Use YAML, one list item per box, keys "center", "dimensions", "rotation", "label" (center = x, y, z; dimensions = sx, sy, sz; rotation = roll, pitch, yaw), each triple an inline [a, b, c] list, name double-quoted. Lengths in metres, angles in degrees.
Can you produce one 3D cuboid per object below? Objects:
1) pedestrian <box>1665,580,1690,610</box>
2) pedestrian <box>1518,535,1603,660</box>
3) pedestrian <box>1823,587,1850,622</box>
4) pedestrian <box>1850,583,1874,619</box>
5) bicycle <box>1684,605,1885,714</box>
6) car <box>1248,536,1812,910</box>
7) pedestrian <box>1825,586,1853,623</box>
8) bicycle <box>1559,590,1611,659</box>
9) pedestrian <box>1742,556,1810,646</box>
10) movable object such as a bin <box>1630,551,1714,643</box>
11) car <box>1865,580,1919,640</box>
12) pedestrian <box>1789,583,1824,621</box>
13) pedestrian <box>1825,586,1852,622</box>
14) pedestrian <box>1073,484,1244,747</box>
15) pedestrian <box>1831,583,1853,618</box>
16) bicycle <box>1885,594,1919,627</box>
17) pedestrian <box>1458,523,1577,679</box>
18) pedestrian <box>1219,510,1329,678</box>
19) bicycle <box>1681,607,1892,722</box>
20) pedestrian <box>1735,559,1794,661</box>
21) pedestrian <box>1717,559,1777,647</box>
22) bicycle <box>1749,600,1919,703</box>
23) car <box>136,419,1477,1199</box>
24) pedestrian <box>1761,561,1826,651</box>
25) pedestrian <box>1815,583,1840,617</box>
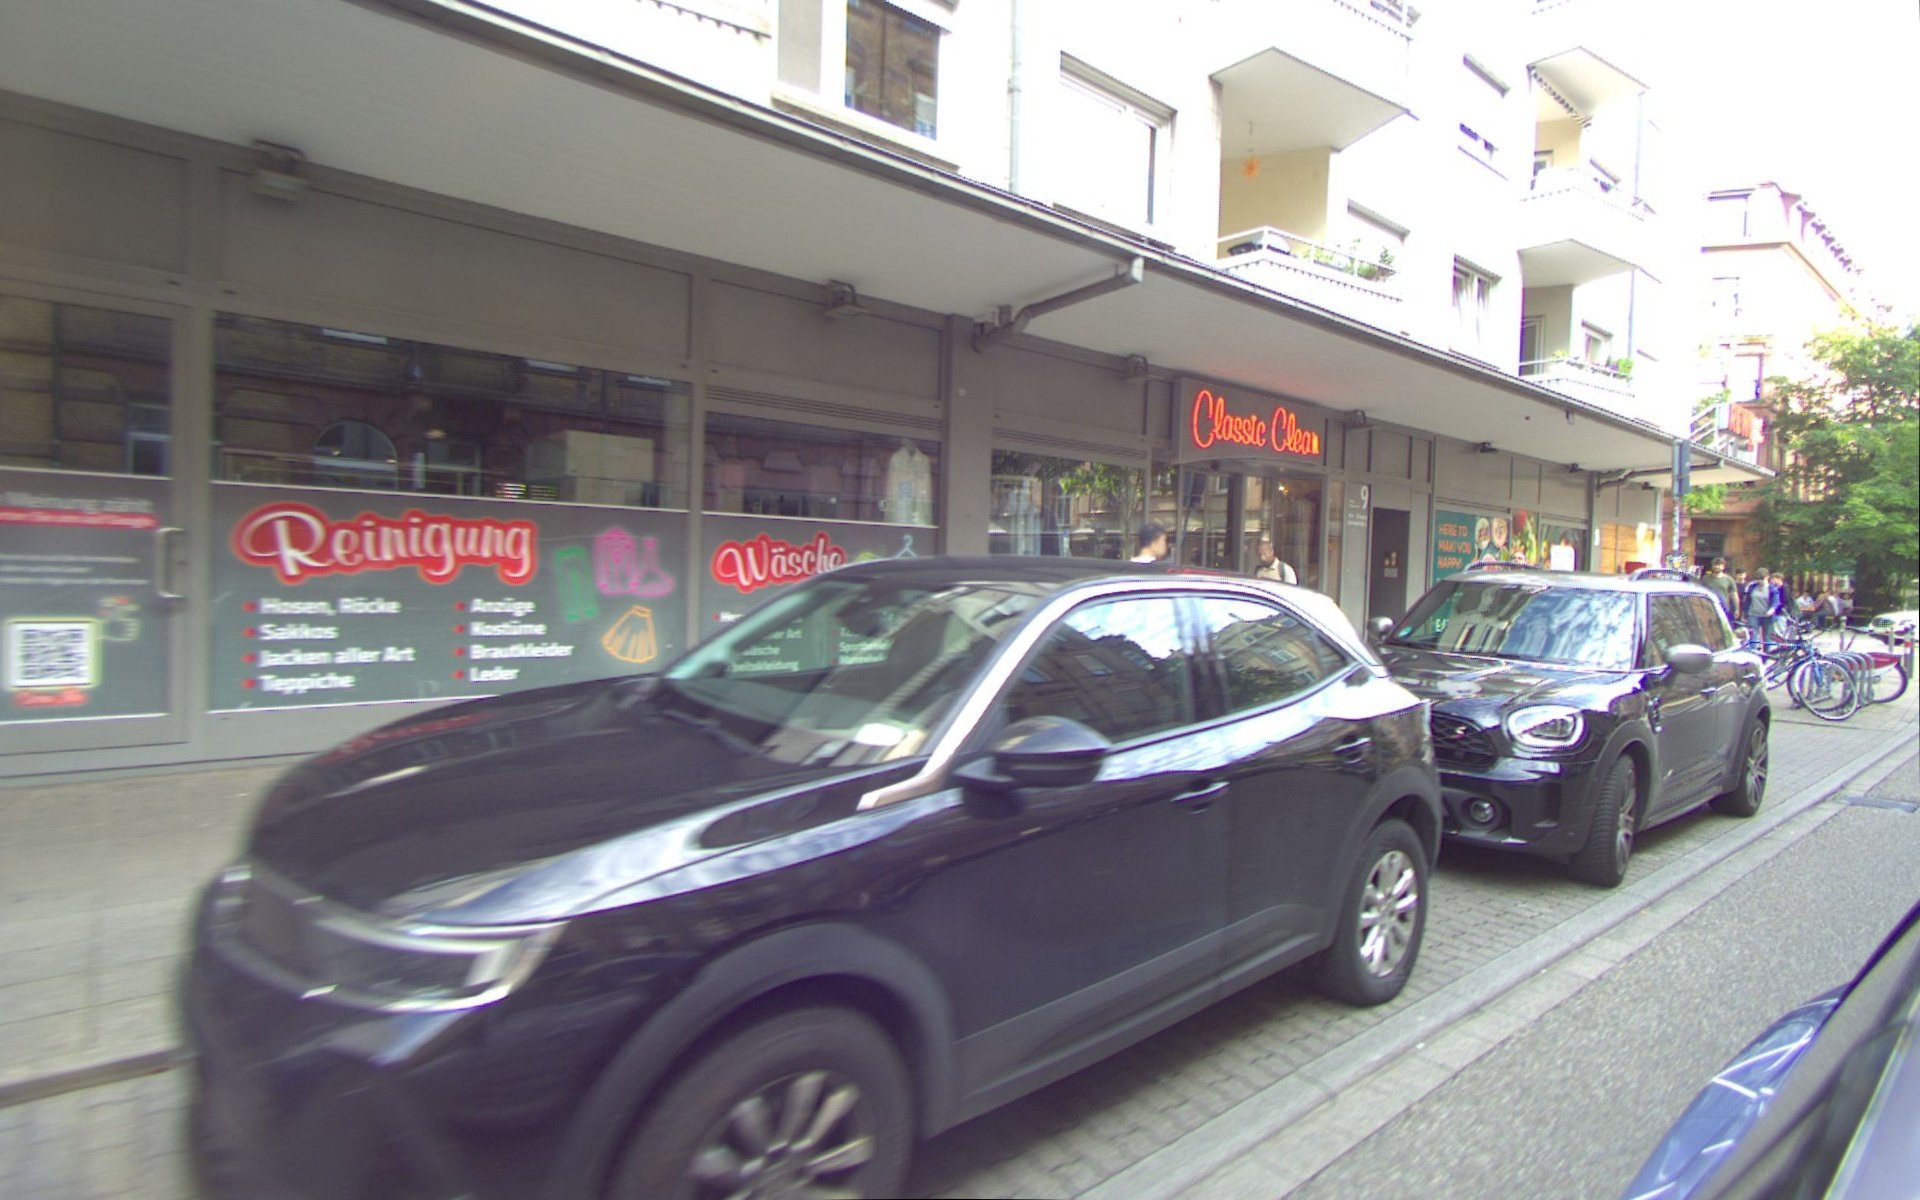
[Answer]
- center: [30.438, -0.196, 42.921]
  dimensions: [0.628, 1.239, 0.513]
  rotation: [0, 3, -7]
  label: "pedestrian"
- center: [8.371, -0.043, 14.113]
  dimensions: [0.700, 1.652, 0.723]
  rotation: [1, 4, -42]
  label: "pedestrian"
- center: [33.638, 0.161, 38.850]
  dimensions: [0.725, 1.331, 0.599]
  rotation: [2, 1, 38]
  label: "pedestrian"
- center: [35.493, 0.039, 39.827]
  dimensions: [0.462, 1.343, 0.616]
  rotation: [3, 3, 26]
  label: "pedestrian"
- center: [9.966, 0.687, 12.299]
  dimensions: [1.787, 1.083, 0.560]
  rotation: [6, 4, 41]
  label: "bicycle"
- center: [3.726, 0.505, 6.352]
  dimensions: [3.854, 1.625, 1.797]
  rotation: [0, 3, -40]
  label: "car"
- center: [32.941, 0.162, 37.942]
  dimensions: [0.725, 1.331, 0.514]
  rotation: [2, 1, 39]
  label: "pedestrian"
- center: [10.813, 0.387, 17.544]
  dimensions: [0.673, 1.055, 1.716]
  rotation: [3, 4, 30]
  label: "bicycle"
- center: [17.187, 0.011, 21.321]
  dimensions: [0.619, 1.818, 0.716]
  rotation: [4, 3, -7]
  label: "pedestrian"
- center: [14.434, -0.074, 20.501]
  dimensions: [2.381, 1.766, 0.781]
  rotation: [0, 2, -41]
  label: "movable object such as a bin"
- center: [28.362, 0.349, 27.793]
  dimensions: [4.770, 1.617, 1.935]
  rotation: [3, 1, 17]
  label: "car"
- center: [32.539, 0.063, 38.891]
  dimensions: [0.656, 1.395, 0.718]
  rotation: [1, 2, -5]
  label: "pedestrian"
- center: [33.261, 0.162, 38.339]
  dimensions: [0.725, 1.331, 0.514]
  rotation: [2, 1, 39]
  label: "pedestrian"
- center: [1.442, 0.100, 7.312]
  dimensions: [1.106, 1.748, 0.613]
  rotation: [1, 1, -38]
  label: "pedestrian"
- center: [35.325, 0.023, 40.523]
  dimensions: [0.462, 1.343, 0.616]
  rotation: [3, 3, 26]
  label: "pedestrian"
- center: [32.419, 0.389, 34.024]
  dimensions: [0.671, 1.047, 1.855]
  rotation: [0, 3, -40]
  label: "bicycle"
- center: [6.784, -0.010, 12.318]
  dimensions: [1.031, 1.767, 0.851]
  rotation: [1, 4, -42]
  label: "pedestrian"
- center: [3.472, -0.081, 11.216]
  dimensions: [0.802, 1.767, 0.716]
  rotation: [1, 4, -38]
  label: "pedestrian"
- center: [9.502, 0.700, 11.708]
  dimensions: [1.787, 1.083, 0.578]
  rotation: [6, 4, 41]
  label: "bicycle"
- center: [14.667, 0.164, 18.446]
  dimensions: [0.762, 1.775, 0.917]
  rotation: [3, 2, 40]
  label: "pedestrian"
- center: [17.186, 0.062, 22.105]
  dimensions: [0.645, 1.818, 0.657]
  rotation: [3, 4, -27]
  label: "pedestrian"
- center: [11.914, 0.658, 13.585]
  dimensions: [0.892, 1.138, 1.887]
  rotation: [1, 5, -41]
  label: "bicycle"
- center: [-0.080, 0.528, 3.181]
  dimensions: [3.834, 1.596, 1.692]
  rotation: [0, 3, -41]
  label: "car"
- center: [17.690, 0.111, 21.493]
  dimensions: [0.705, 1.818, 0.629]
  rotation: [5, 3, 15]
  label: "pedestrian"
- center: [34.383, -0.006, 40.120]
  dimensions: [0.543, 1.316, 0.616]
  rotation: [3, 3, 26]
  label: "pedestrian"
